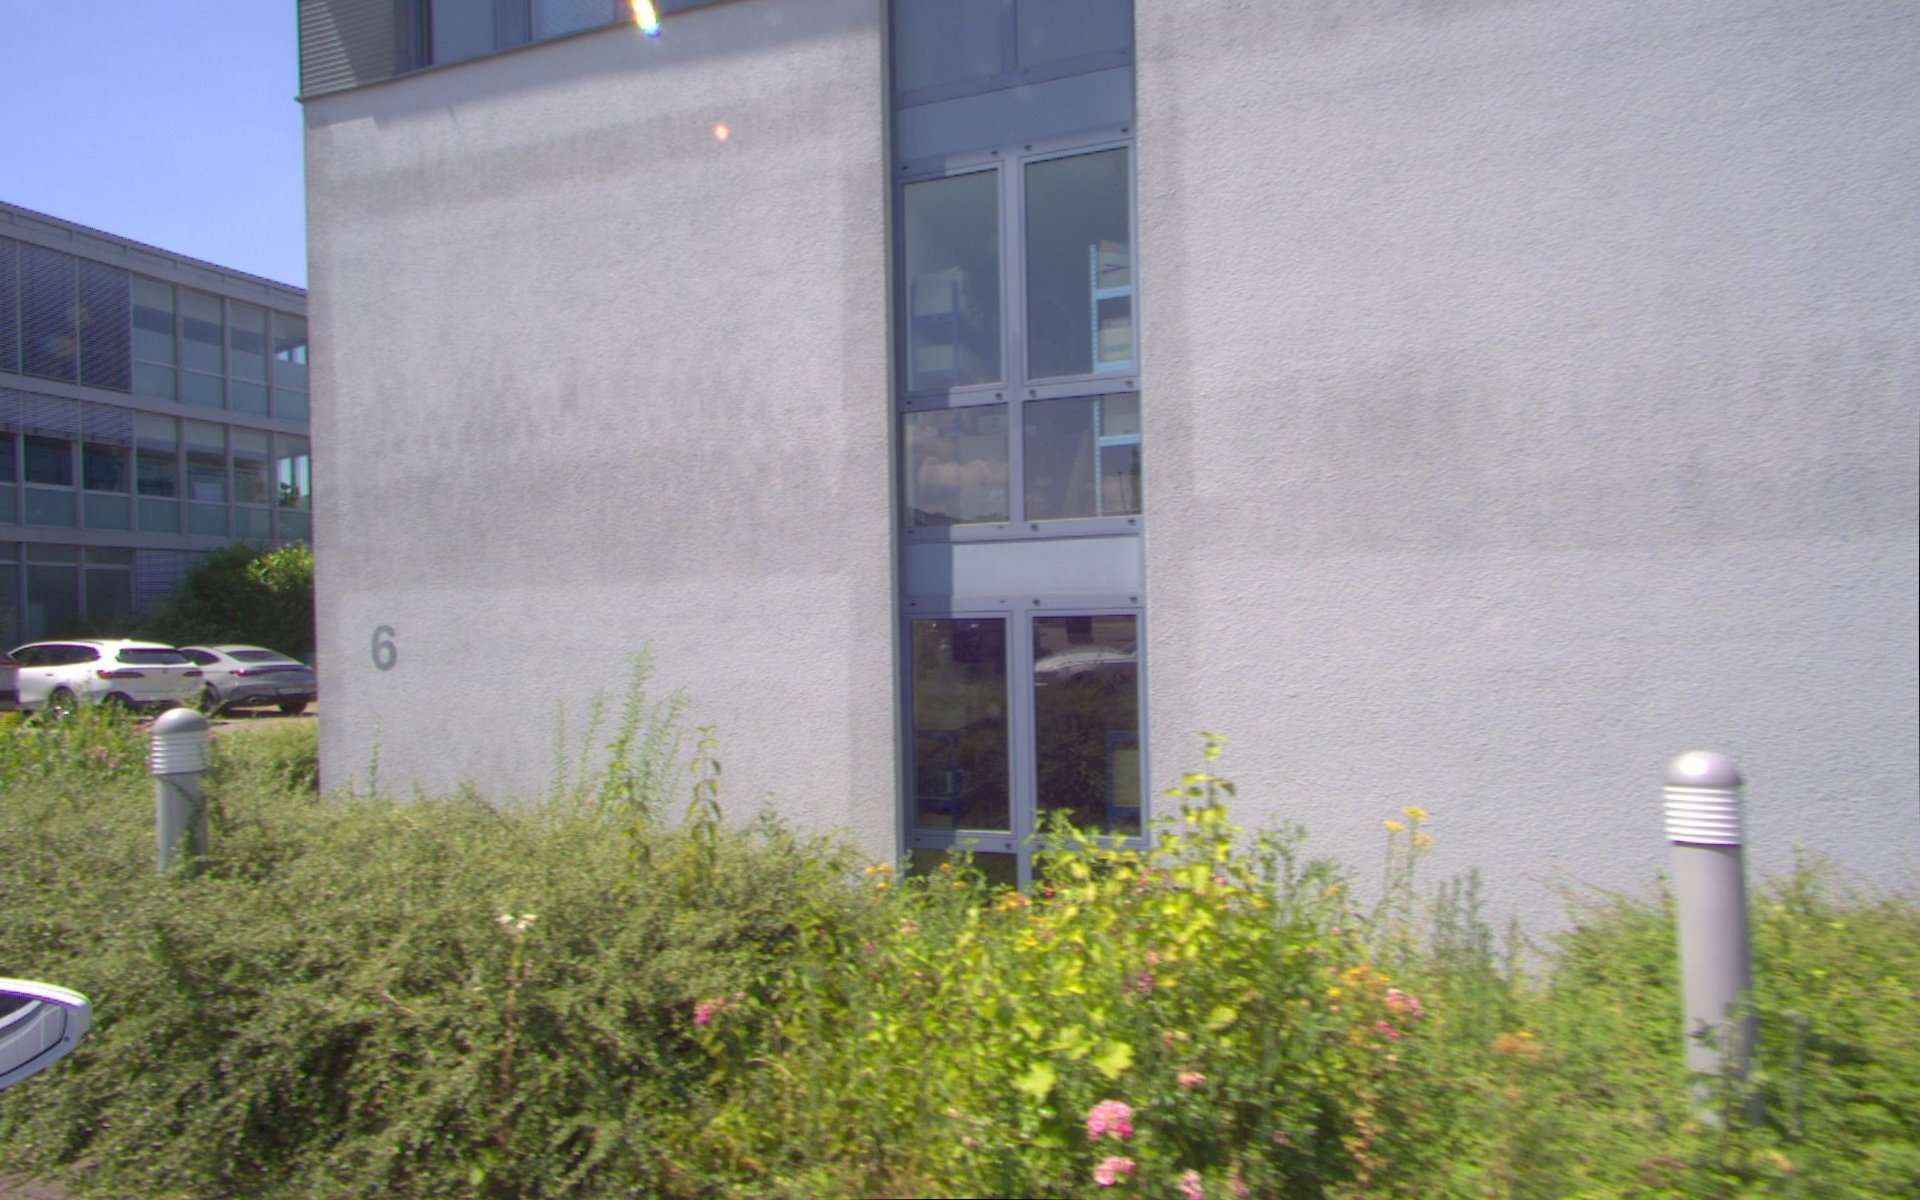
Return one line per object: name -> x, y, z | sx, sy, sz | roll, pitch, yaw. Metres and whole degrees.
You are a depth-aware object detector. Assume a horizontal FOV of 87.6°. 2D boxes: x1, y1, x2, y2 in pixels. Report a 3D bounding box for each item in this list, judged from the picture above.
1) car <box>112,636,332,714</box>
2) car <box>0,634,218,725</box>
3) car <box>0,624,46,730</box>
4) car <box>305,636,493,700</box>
car -> -15.322, 1.503, 20.794 | 4.266, 1.447, 1.738 | 0, -2, 23
car -> -16.013, 1.384, 18.172 | 4.258, 1.510, 1.741 | 0, -2, 13
car -> -17.068, 1.195, 15.806 | 4.258, 1.641, 1.824 | 0, -1, 13
car -> -14.127, 1.676, 25.201 | 4.471, 1.465, 1.738 | 0, -2, 23
